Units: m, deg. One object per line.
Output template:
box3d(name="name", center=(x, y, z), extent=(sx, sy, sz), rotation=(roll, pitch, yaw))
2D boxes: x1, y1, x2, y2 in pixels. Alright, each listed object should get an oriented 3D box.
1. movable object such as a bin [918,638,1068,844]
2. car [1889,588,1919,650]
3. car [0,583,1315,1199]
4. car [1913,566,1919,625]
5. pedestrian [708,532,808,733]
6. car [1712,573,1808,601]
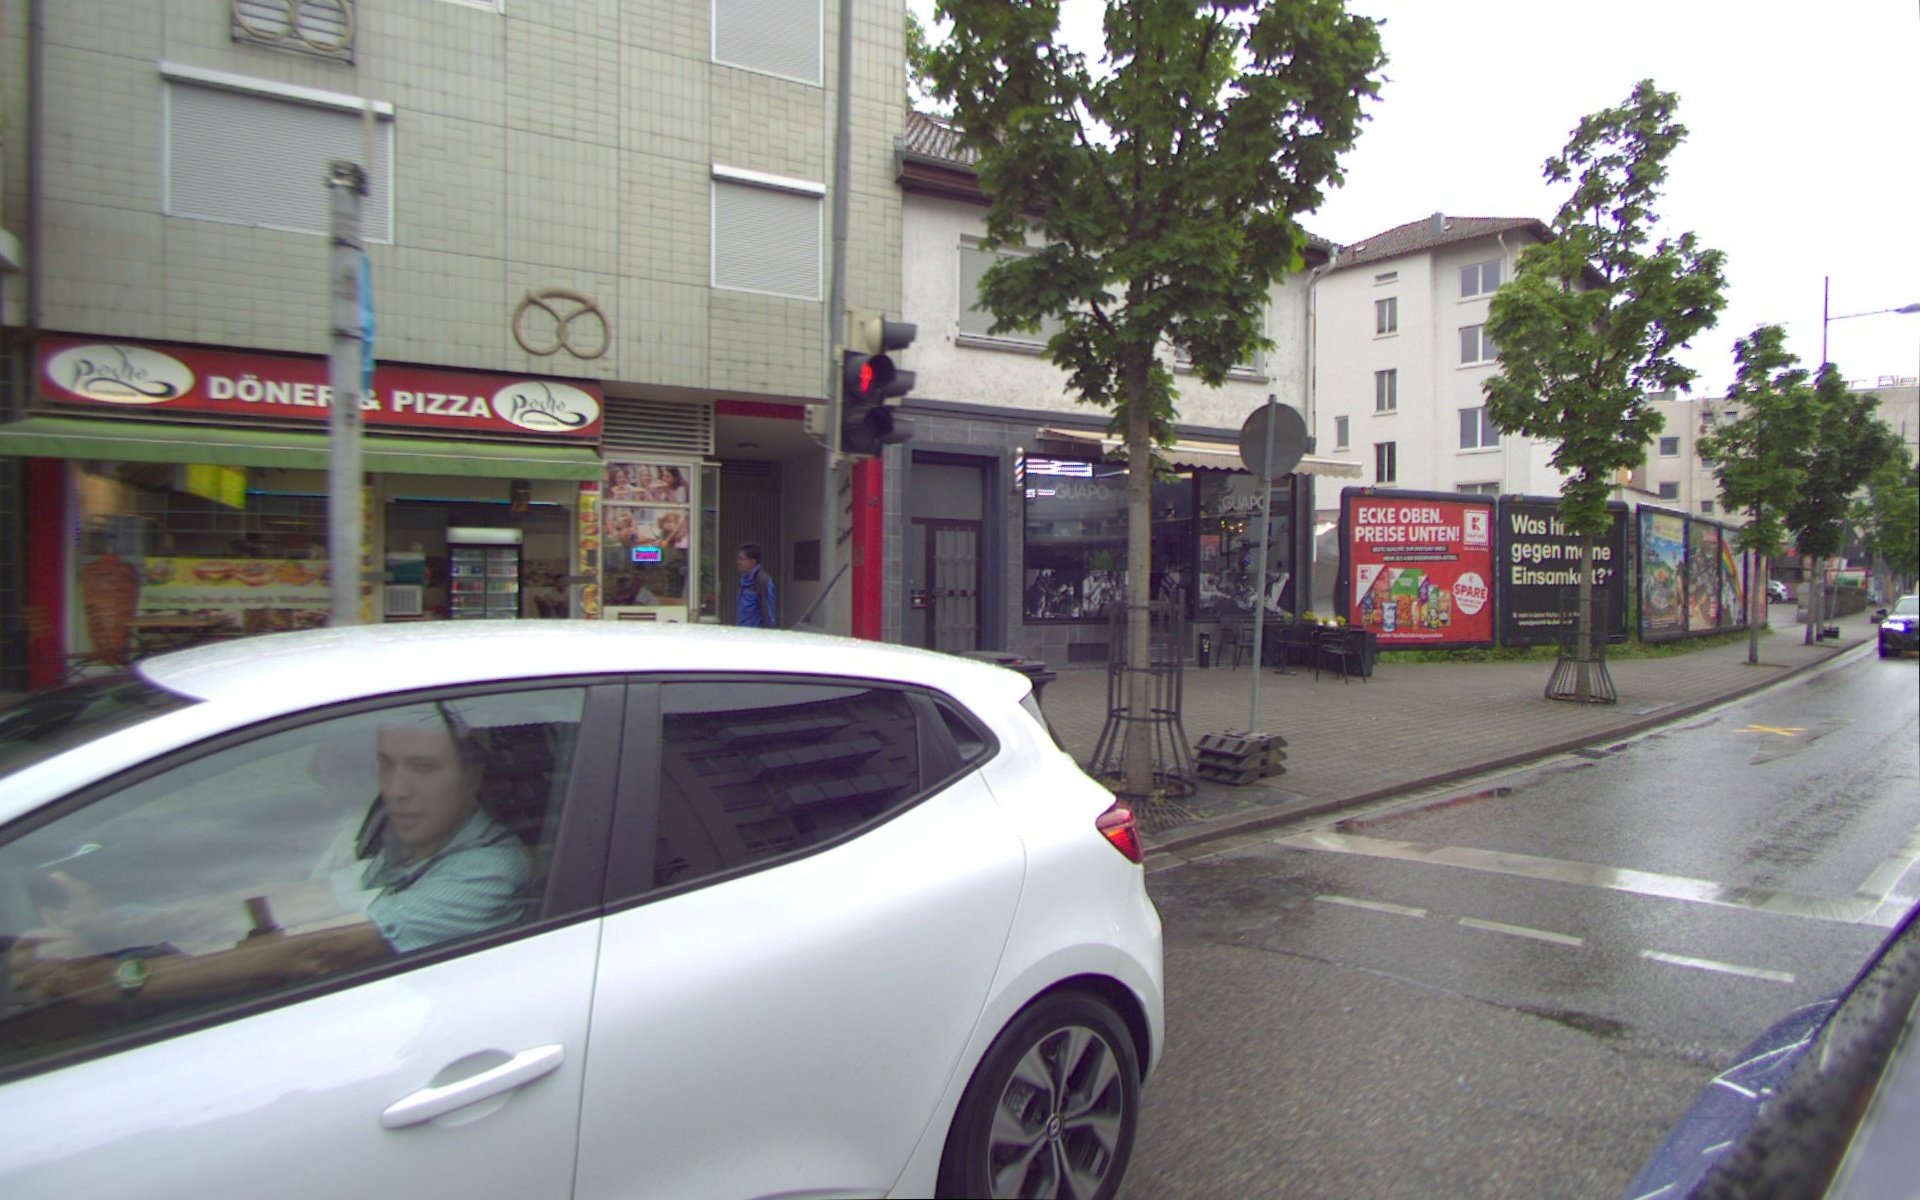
box3d(name="movable object such as a bin", center=(0.198, 0.817, 6.166), extent=(0.653, 1.125, 0.580), rotation=(2, 2, -37))
box3d(name="car", center=(23.159, 0.423, 23.795), extent=(1.808, 1.356, 4.210), rotation=(2, 2, 44))
box3d(name="car", center=(-1.133, 0.708, 2.134), extent=(3.927, 1.420, 1.681), rotation=(-1, 3, -38))
box3d(name="car", center=(36.928, -0.215, 37.292), extent=(5.833, 2.112, 2.196), rotation=(-2, 2, -42))
box3d(name="pedestrian", center=(-1.938, 0.268, 9.707), extent=(0.887, 1.813, 0.973), rotation=(0, 3, -12))
box3d(name="car", center=(49.802, -0.772, 63.083), extent=(4.178, 1.595, 1.939), rotation=(2, -1, 11))
